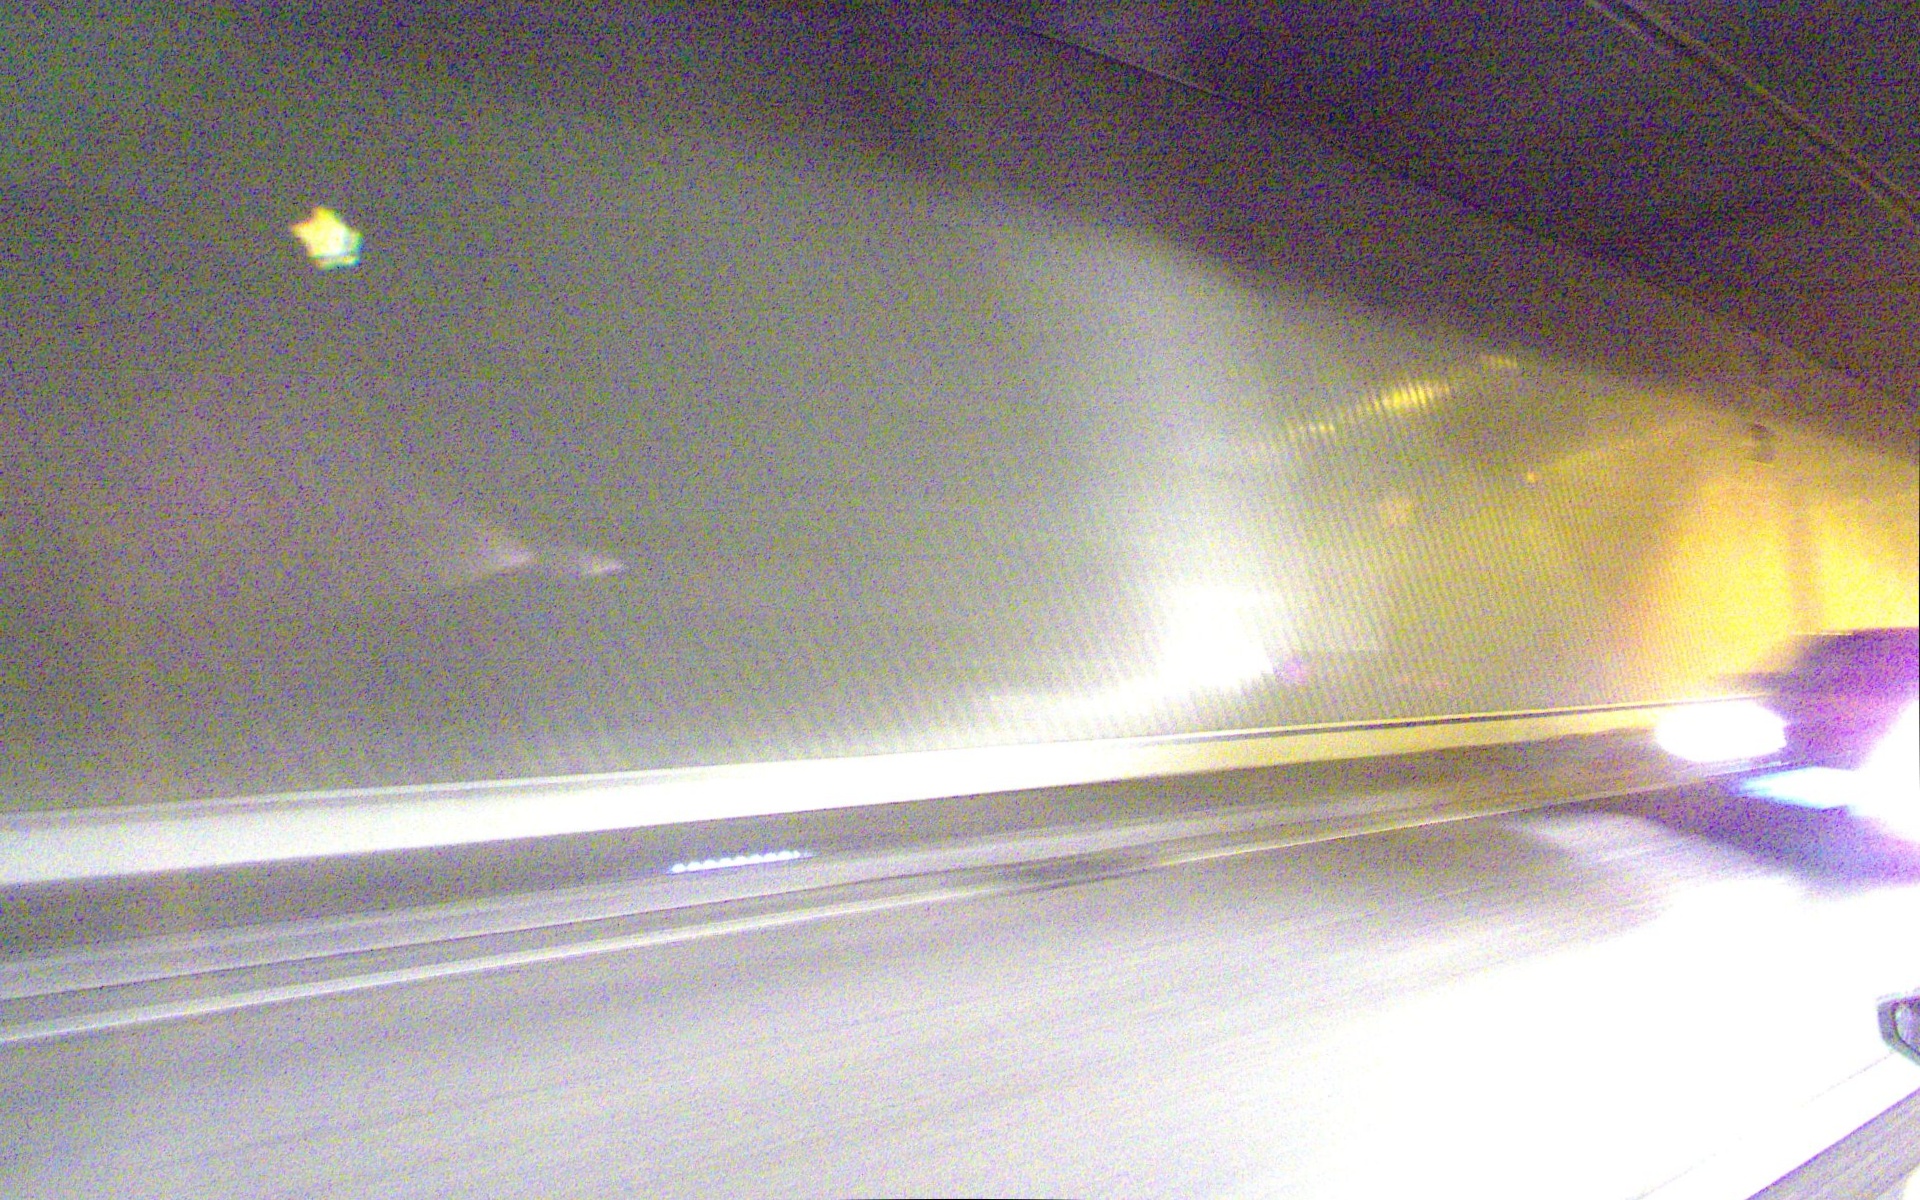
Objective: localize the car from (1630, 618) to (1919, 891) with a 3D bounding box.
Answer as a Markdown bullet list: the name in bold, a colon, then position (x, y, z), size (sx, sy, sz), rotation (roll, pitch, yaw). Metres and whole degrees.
- **car**: position (6.819, 0.901, 7.240), size (4.346, 1.462, 1.706), rotation (1, 0, -33)
